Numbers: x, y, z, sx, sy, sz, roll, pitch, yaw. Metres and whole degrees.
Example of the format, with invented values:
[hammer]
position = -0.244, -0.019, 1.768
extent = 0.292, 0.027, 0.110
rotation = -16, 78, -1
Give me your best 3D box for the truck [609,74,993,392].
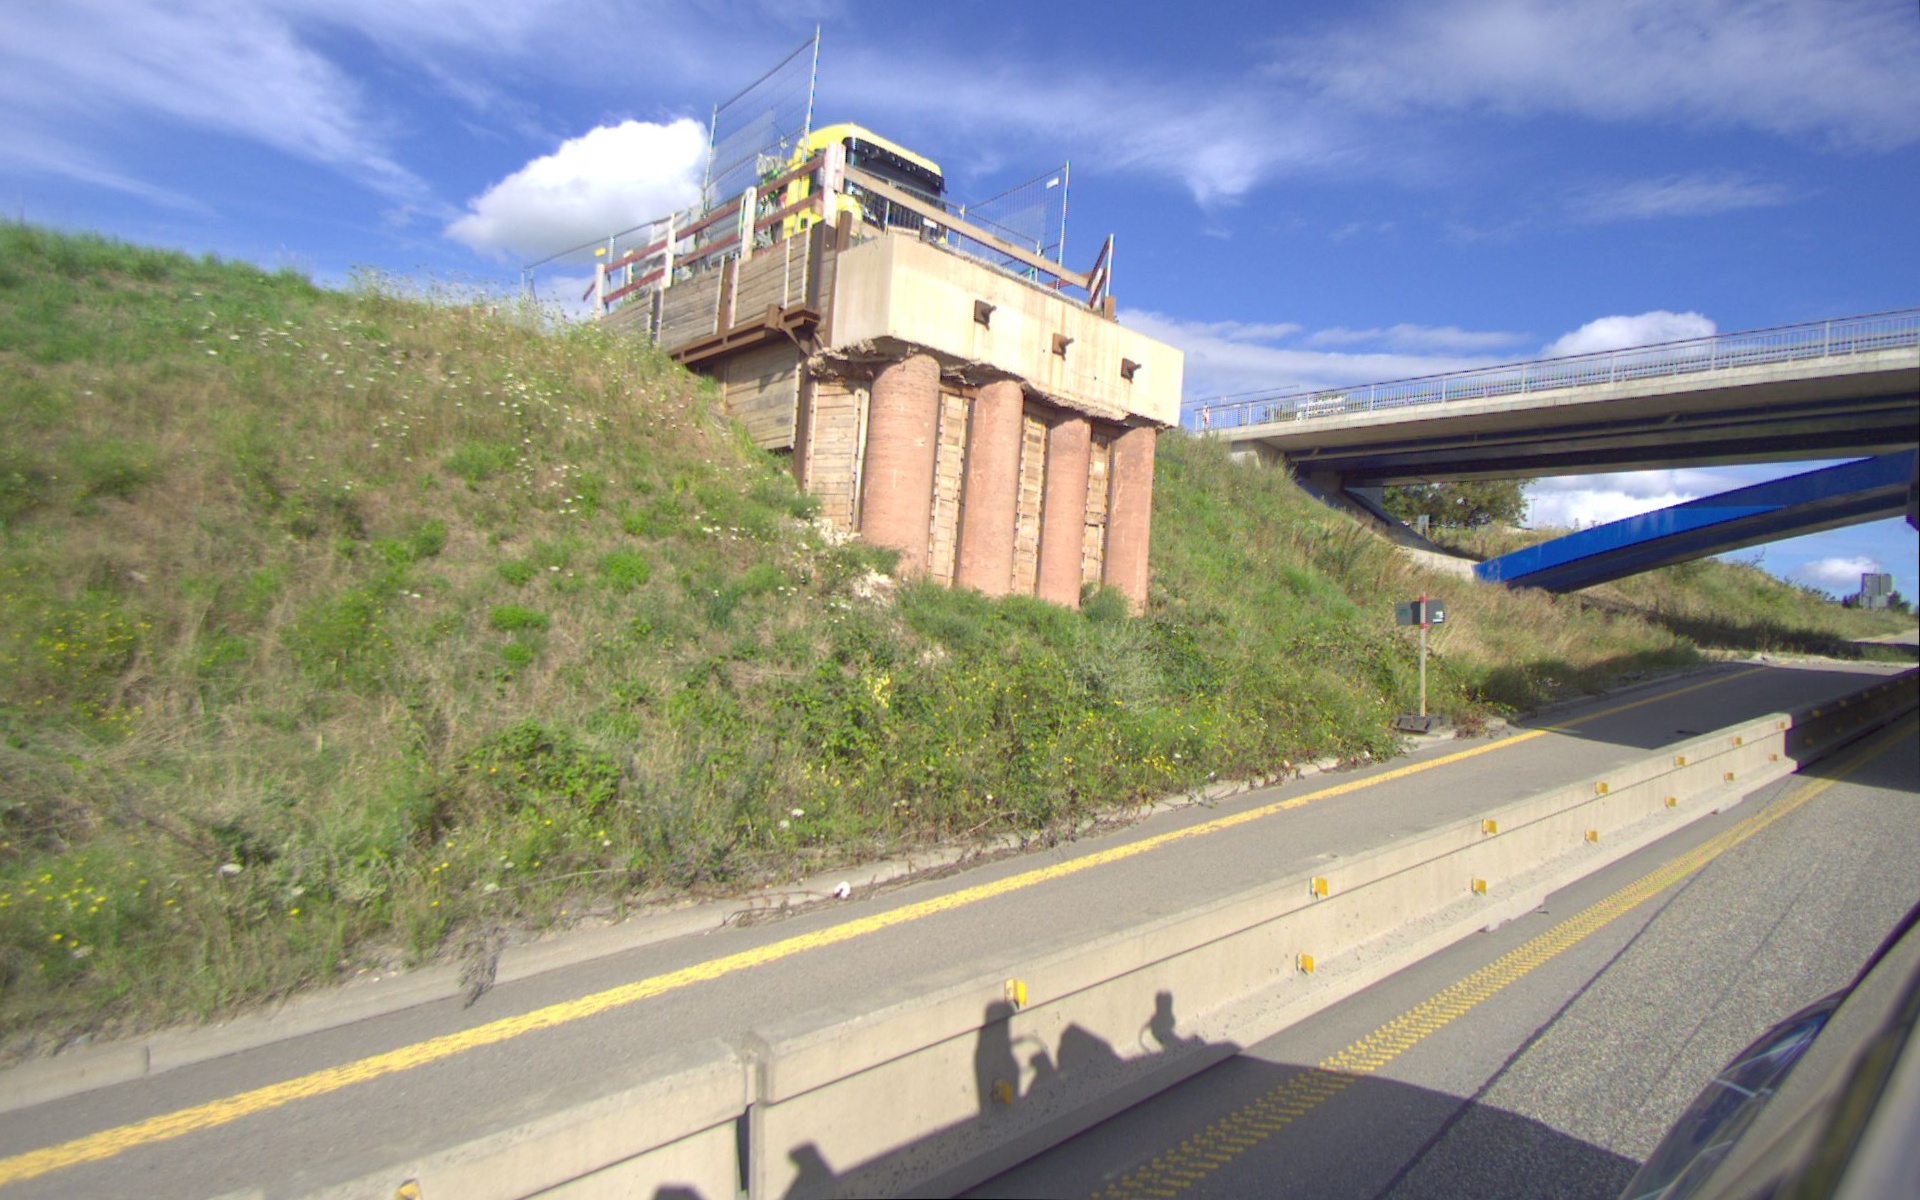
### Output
[truck]
position = -3.609, -6.558, 20.018
extent = 2.909, 3.268, 9.276
rotation = 0, 1, -42
